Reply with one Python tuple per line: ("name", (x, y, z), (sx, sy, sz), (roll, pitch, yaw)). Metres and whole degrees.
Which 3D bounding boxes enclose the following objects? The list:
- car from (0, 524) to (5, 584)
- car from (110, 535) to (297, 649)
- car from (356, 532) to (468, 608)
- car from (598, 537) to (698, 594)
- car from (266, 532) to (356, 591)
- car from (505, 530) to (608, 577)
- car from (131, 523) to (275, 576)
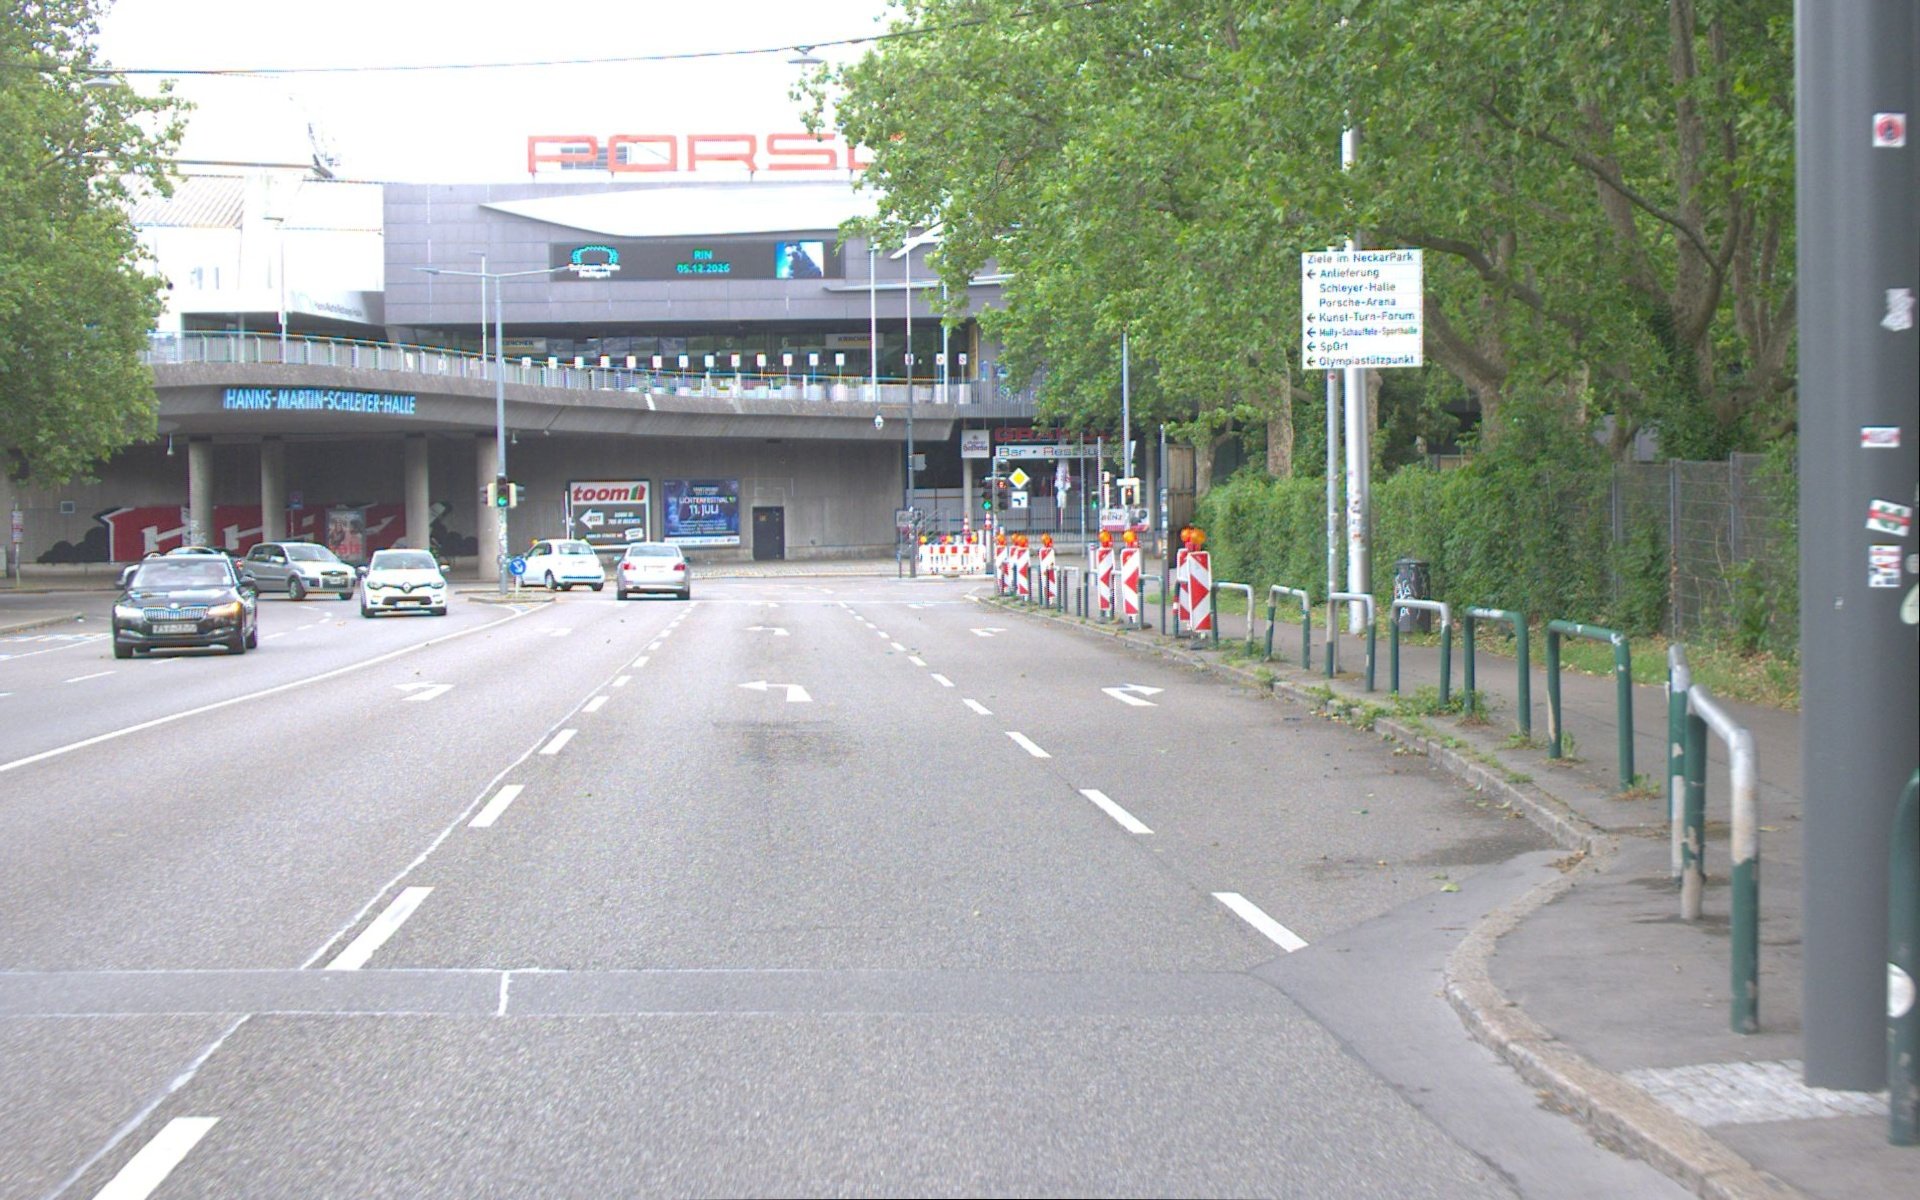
("car", (-30.066, -1.323, 98.979), (4.583, 1.738, 1.999), (0, 1, 16))
("car", (-10.980, -0.159, 50.215), (1.993, 1.525, 4.727), (-2, 1, -4))
("car", (-11.789, -0.681, 74.192), (1.993, 1.525, 4.386), (-2, 1, -4))
("car", (-7.956, -0.897, 87.371), (1.993, 1.414, 4.001), (0, 1, -13))
("car", (-17.210, -1.031, 91.277), (1.993, 1.520, 4.001), (0, 1, -6))
("car", (-11.625, -1.353, 98.902), (1.611, 1.308, 3.395), (-1, 1, -33))
("car", (-23.993, -1.611, 109.028), (3.989, 1.654, 1.999), (0, 1, 12))
